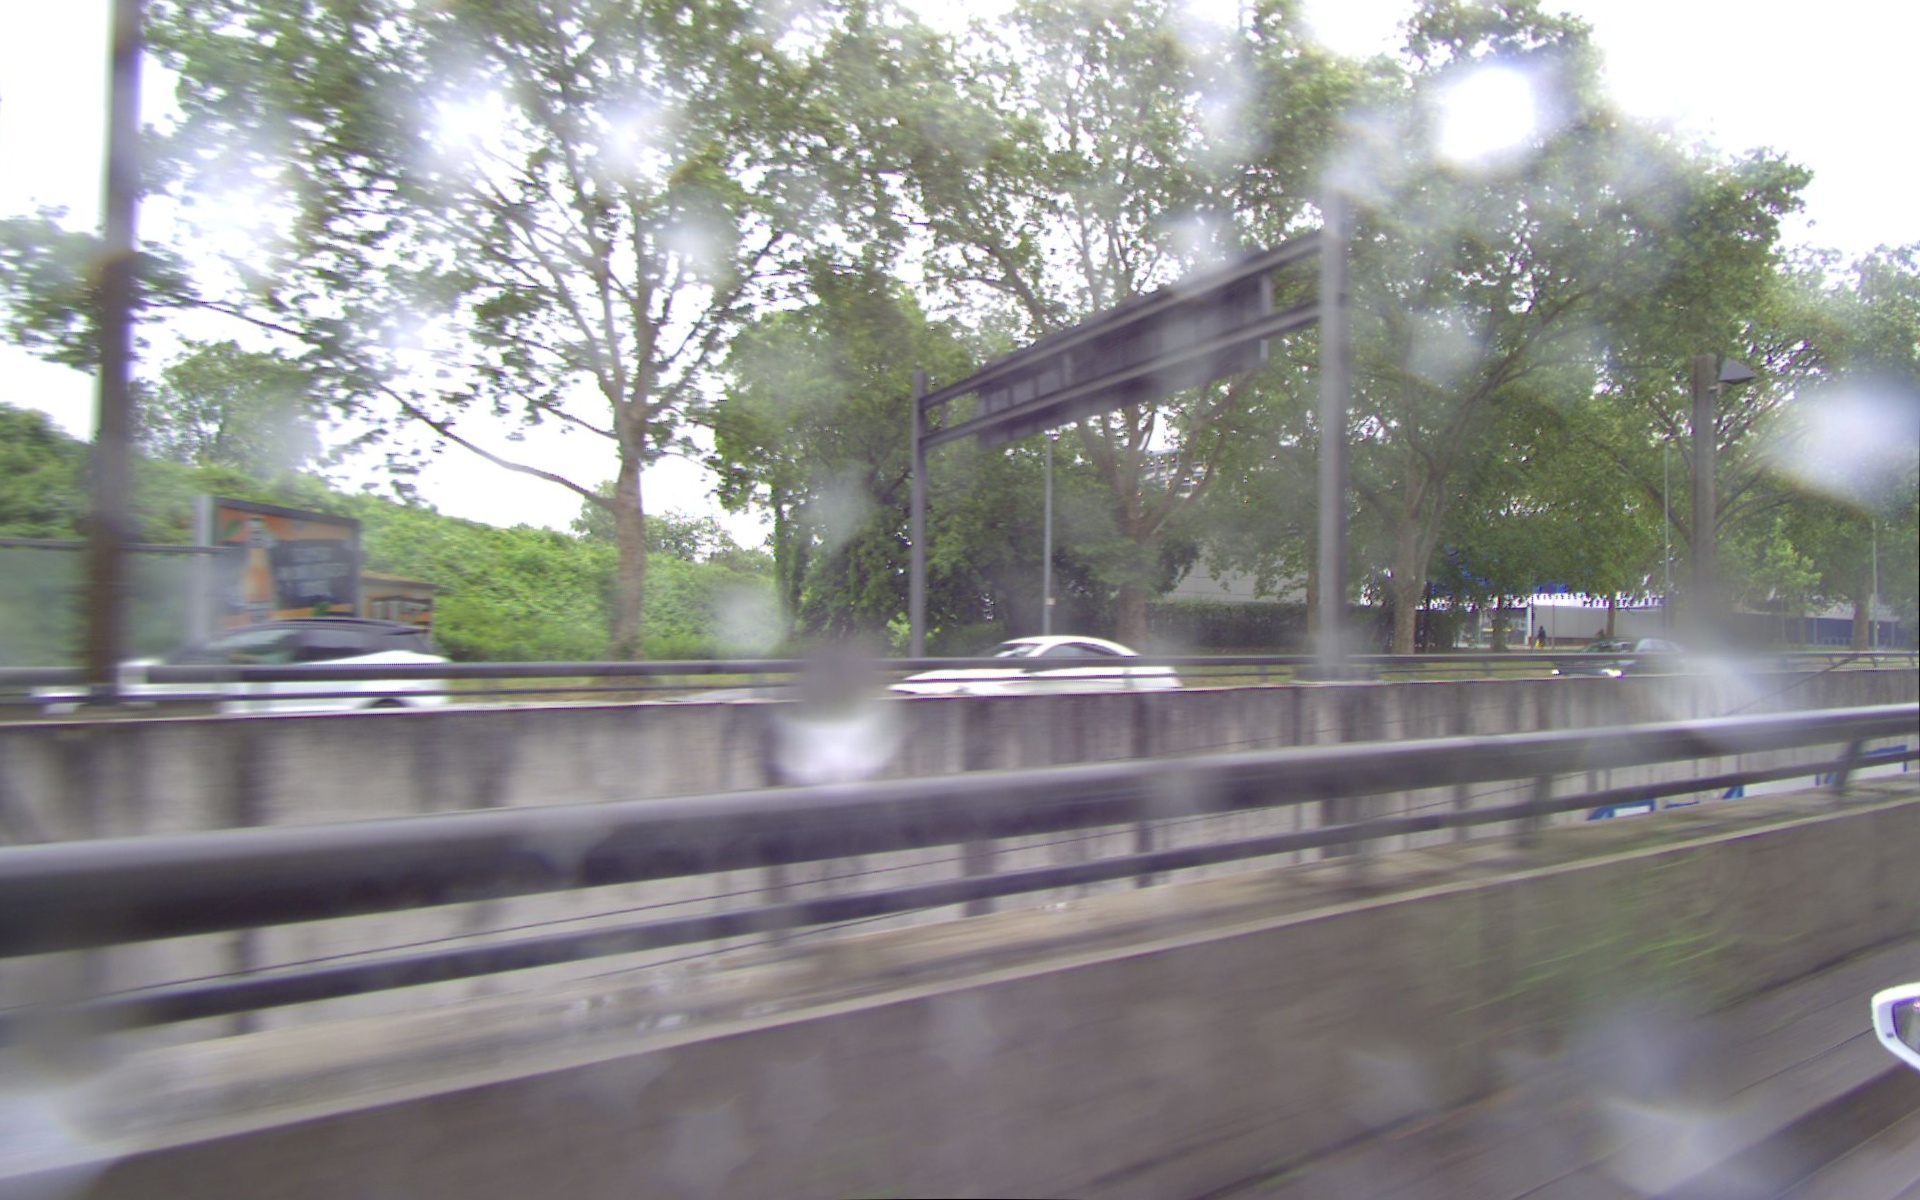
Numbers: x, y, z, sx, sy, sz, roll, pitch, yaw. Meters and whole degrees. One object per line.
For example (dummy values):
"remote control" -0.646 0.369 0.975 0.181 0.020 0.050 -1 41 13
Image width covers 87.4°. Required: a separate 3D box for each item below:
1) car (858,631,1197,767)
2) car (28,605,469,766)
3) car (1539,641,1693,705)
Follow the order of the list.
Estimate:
"car" 1.026 1.308 14.326 4.529 1.654 1.983 2 -2 -32
"car" -8.236 0.962 12.142 4.039 1.654 1.839 2 -2 -29
"car" 17.857 1.937 27.328 3.951 1.592 1.899 1 -2 -29
